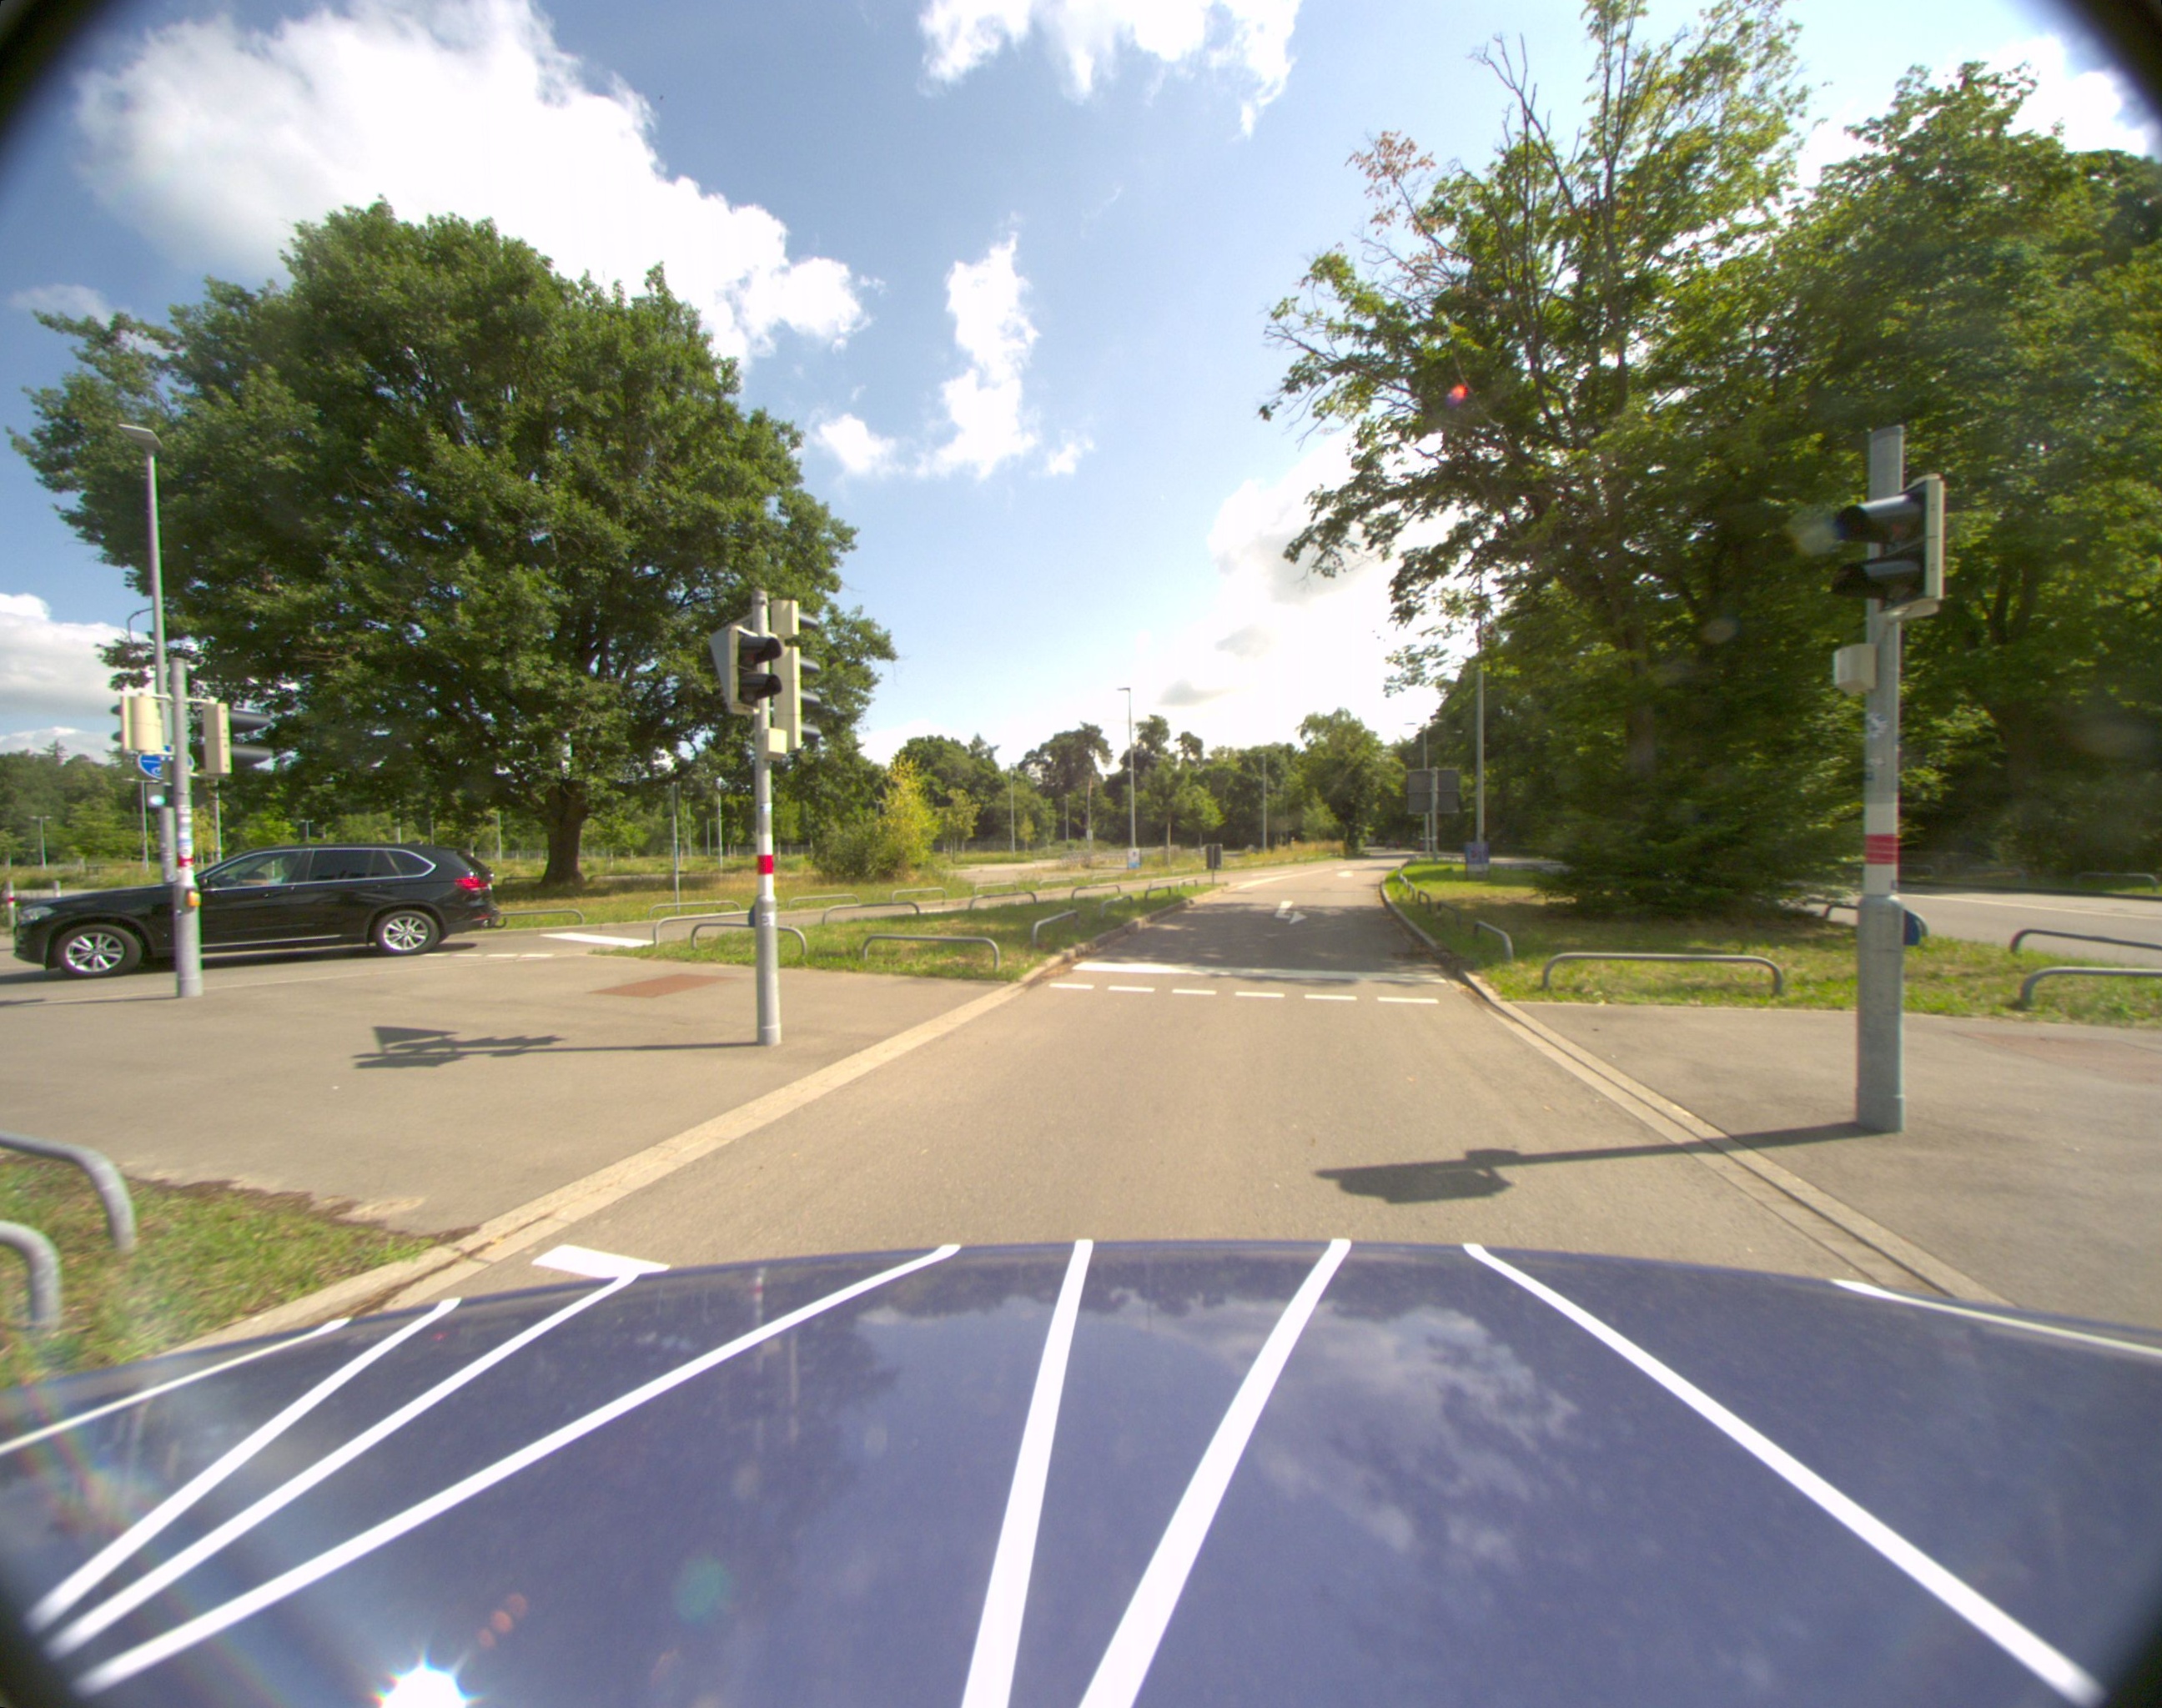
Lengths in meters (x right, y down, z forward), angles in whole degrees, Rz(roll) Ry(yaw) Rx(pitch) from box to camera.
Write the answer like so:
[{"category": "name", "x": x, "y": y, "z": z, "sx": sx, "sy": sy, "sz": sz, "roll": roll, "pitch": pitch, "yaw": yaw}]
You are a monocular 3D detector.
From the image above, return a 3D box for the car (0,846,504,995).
[{"category": "car", "x": -11.676, "y": 0.788, "z": 11.351, "sx": 4.715, "sy": 1.755, "sz": 1.976, "roll": -1, "pitch": 2, "yaw": -34}]

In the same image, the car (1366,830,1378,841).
[{"category": "car", "x": 66.307, "y": -4.178, "z": 173.269, "sx": 1.978, "sy": 2.417, "sz": 5.367, "roll": -2, "pitch": 2, "yaw": 16}]

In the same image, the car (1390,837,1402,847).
[{"category": "car", "x": 51.349, "y": -2.032, "z": 123.739, "sx": 1.696, "sy": 1.438, "sz": 4.071, "roll": -2, "pitch": 2, "yaw": 21}]

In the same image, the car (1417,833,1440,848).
[{"category": "car", "x": 40.669, "y": -1.589, "z": 88.950, "sx": 1.763, "sy": 1.620, "sz": 4.304, "roll": -3, "pitch": 0, "yaw": 17}]
